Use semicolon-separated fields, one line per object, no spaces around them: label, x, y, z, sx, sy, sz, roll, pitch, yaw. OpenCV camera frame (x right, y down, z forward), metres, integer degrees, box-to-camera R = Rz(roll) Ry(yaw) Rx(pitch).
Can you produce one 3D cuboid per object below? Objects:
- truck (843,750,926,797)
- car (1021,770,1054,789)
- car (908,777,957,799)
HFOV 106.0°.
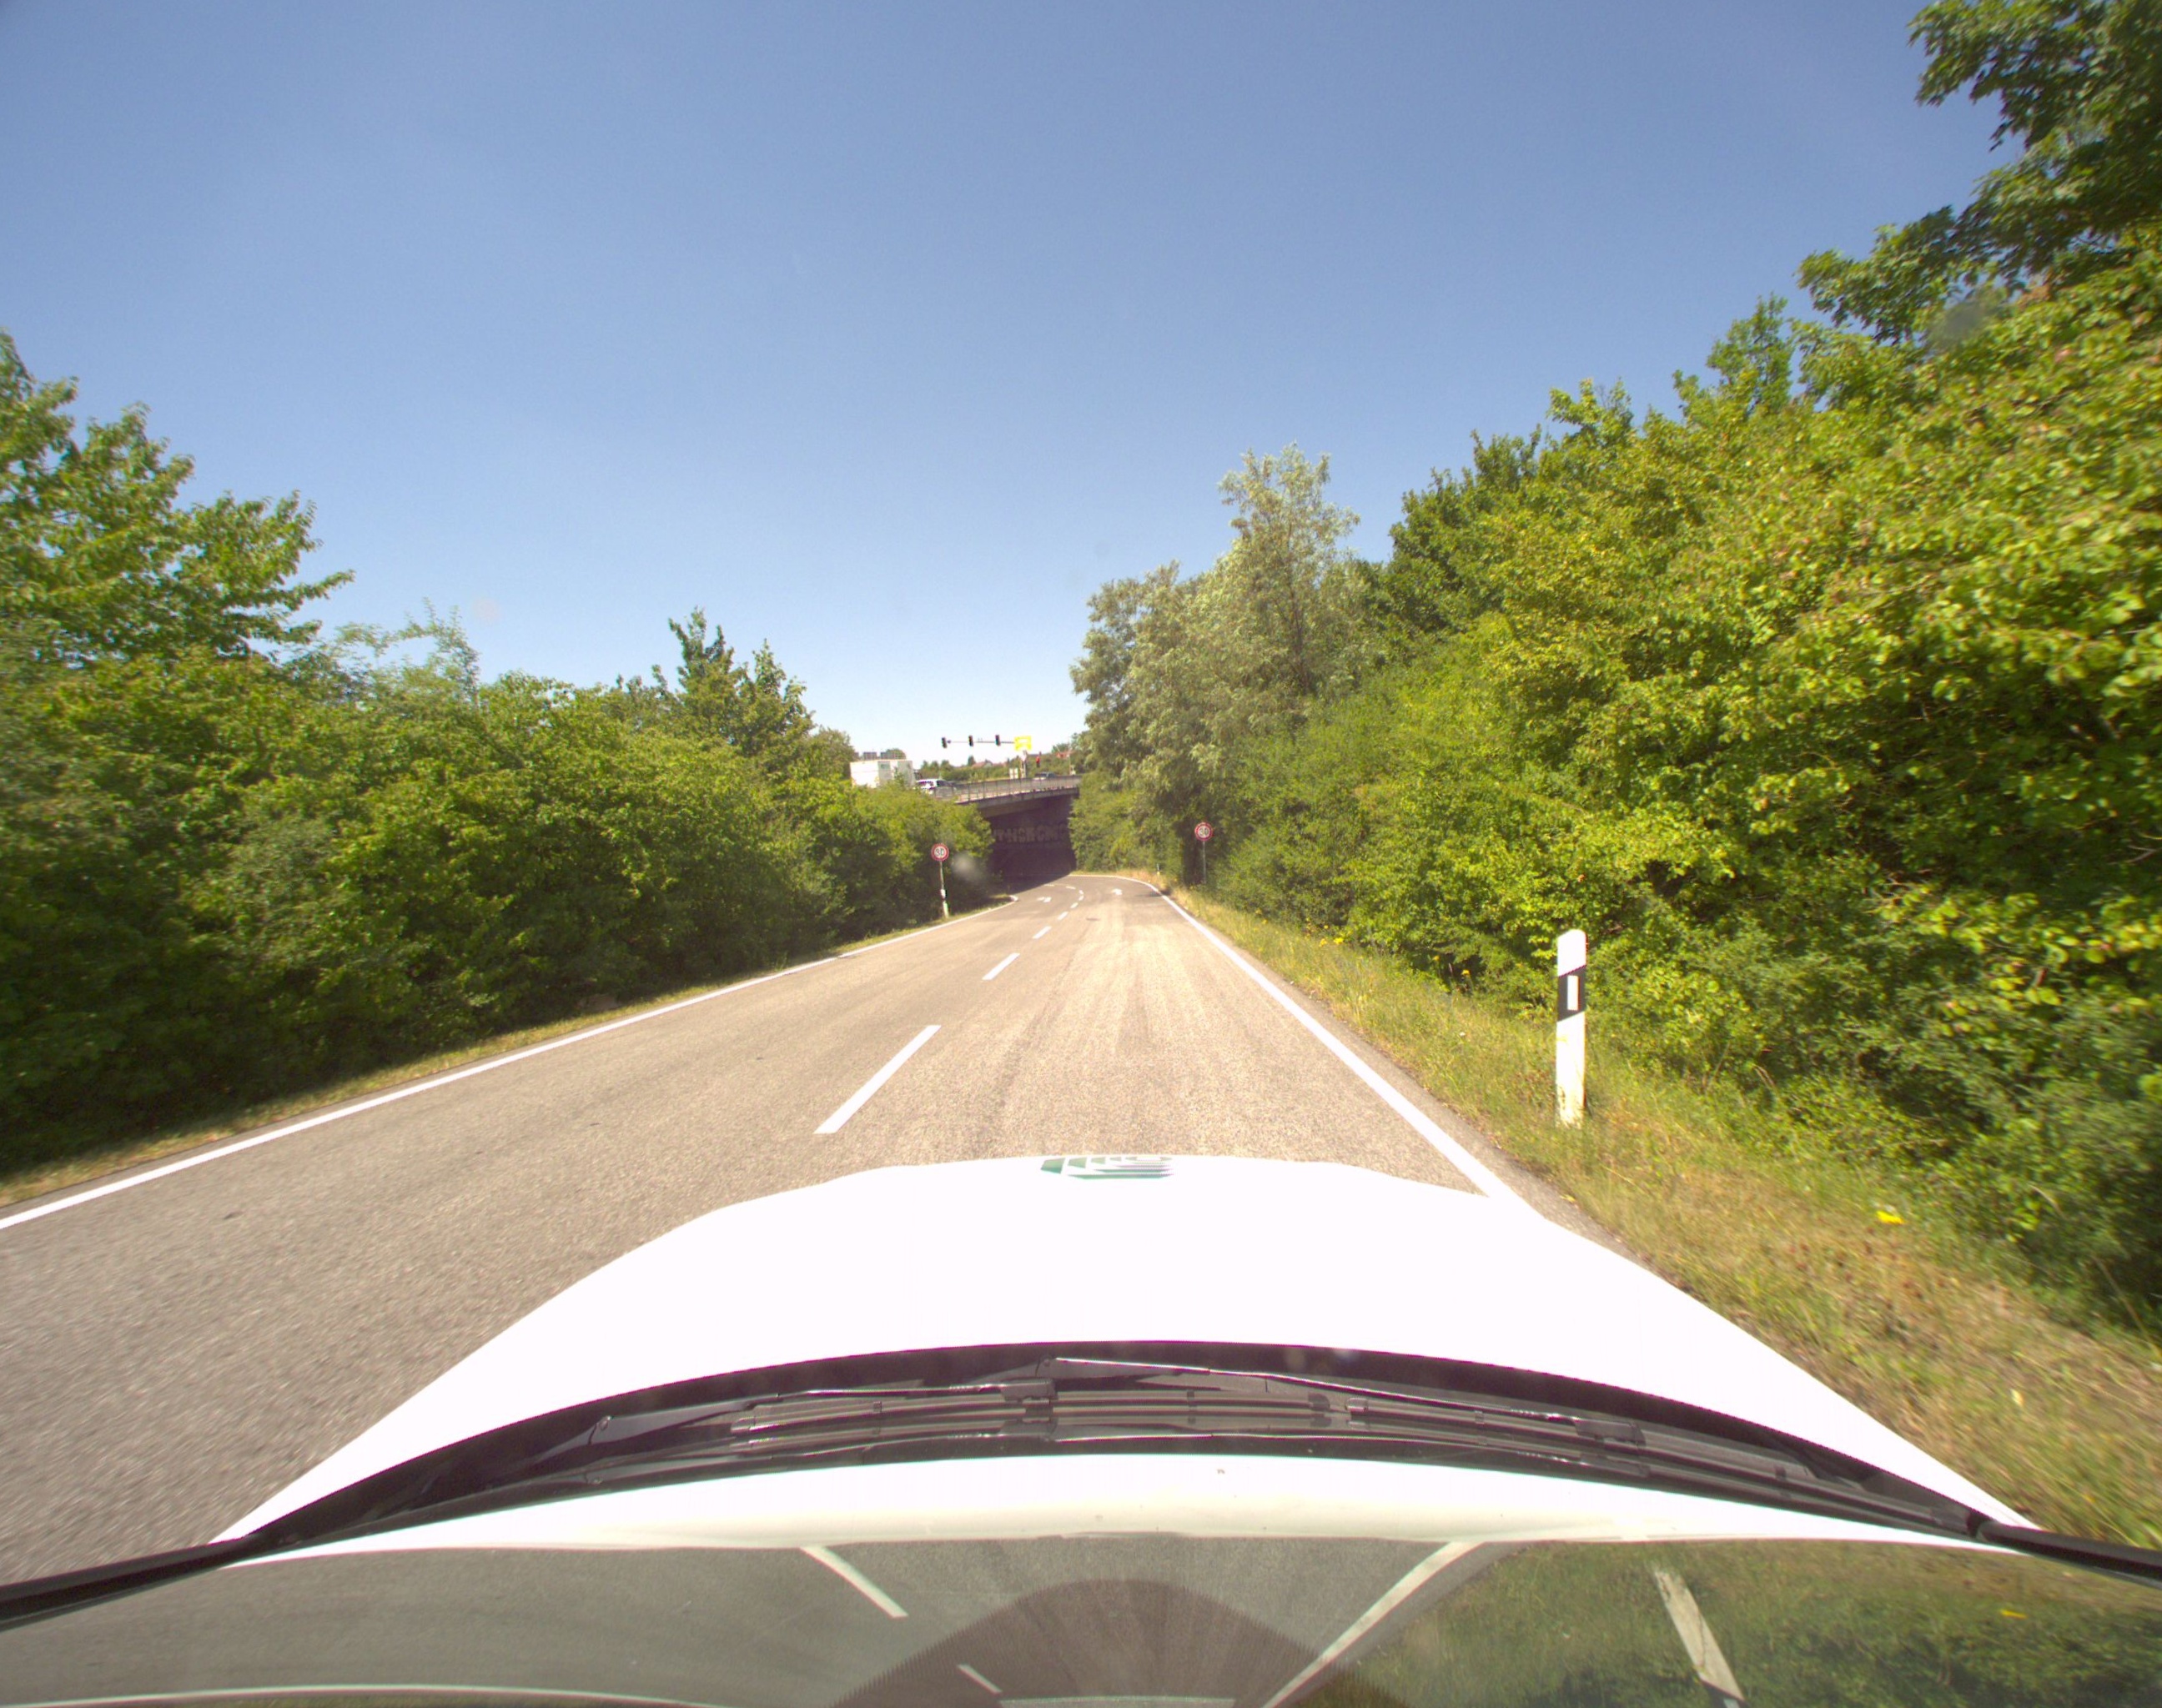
truck;-17.250;-6.997;72.347;3.005;3.588;8.939;-4;3;14
car;-3.953;-6.809;74.446;1.981;1.420;4.013;-4;3;11
car;-9.334;-4.130;51.388;1.600;1.189;3.494;-4;3;14
